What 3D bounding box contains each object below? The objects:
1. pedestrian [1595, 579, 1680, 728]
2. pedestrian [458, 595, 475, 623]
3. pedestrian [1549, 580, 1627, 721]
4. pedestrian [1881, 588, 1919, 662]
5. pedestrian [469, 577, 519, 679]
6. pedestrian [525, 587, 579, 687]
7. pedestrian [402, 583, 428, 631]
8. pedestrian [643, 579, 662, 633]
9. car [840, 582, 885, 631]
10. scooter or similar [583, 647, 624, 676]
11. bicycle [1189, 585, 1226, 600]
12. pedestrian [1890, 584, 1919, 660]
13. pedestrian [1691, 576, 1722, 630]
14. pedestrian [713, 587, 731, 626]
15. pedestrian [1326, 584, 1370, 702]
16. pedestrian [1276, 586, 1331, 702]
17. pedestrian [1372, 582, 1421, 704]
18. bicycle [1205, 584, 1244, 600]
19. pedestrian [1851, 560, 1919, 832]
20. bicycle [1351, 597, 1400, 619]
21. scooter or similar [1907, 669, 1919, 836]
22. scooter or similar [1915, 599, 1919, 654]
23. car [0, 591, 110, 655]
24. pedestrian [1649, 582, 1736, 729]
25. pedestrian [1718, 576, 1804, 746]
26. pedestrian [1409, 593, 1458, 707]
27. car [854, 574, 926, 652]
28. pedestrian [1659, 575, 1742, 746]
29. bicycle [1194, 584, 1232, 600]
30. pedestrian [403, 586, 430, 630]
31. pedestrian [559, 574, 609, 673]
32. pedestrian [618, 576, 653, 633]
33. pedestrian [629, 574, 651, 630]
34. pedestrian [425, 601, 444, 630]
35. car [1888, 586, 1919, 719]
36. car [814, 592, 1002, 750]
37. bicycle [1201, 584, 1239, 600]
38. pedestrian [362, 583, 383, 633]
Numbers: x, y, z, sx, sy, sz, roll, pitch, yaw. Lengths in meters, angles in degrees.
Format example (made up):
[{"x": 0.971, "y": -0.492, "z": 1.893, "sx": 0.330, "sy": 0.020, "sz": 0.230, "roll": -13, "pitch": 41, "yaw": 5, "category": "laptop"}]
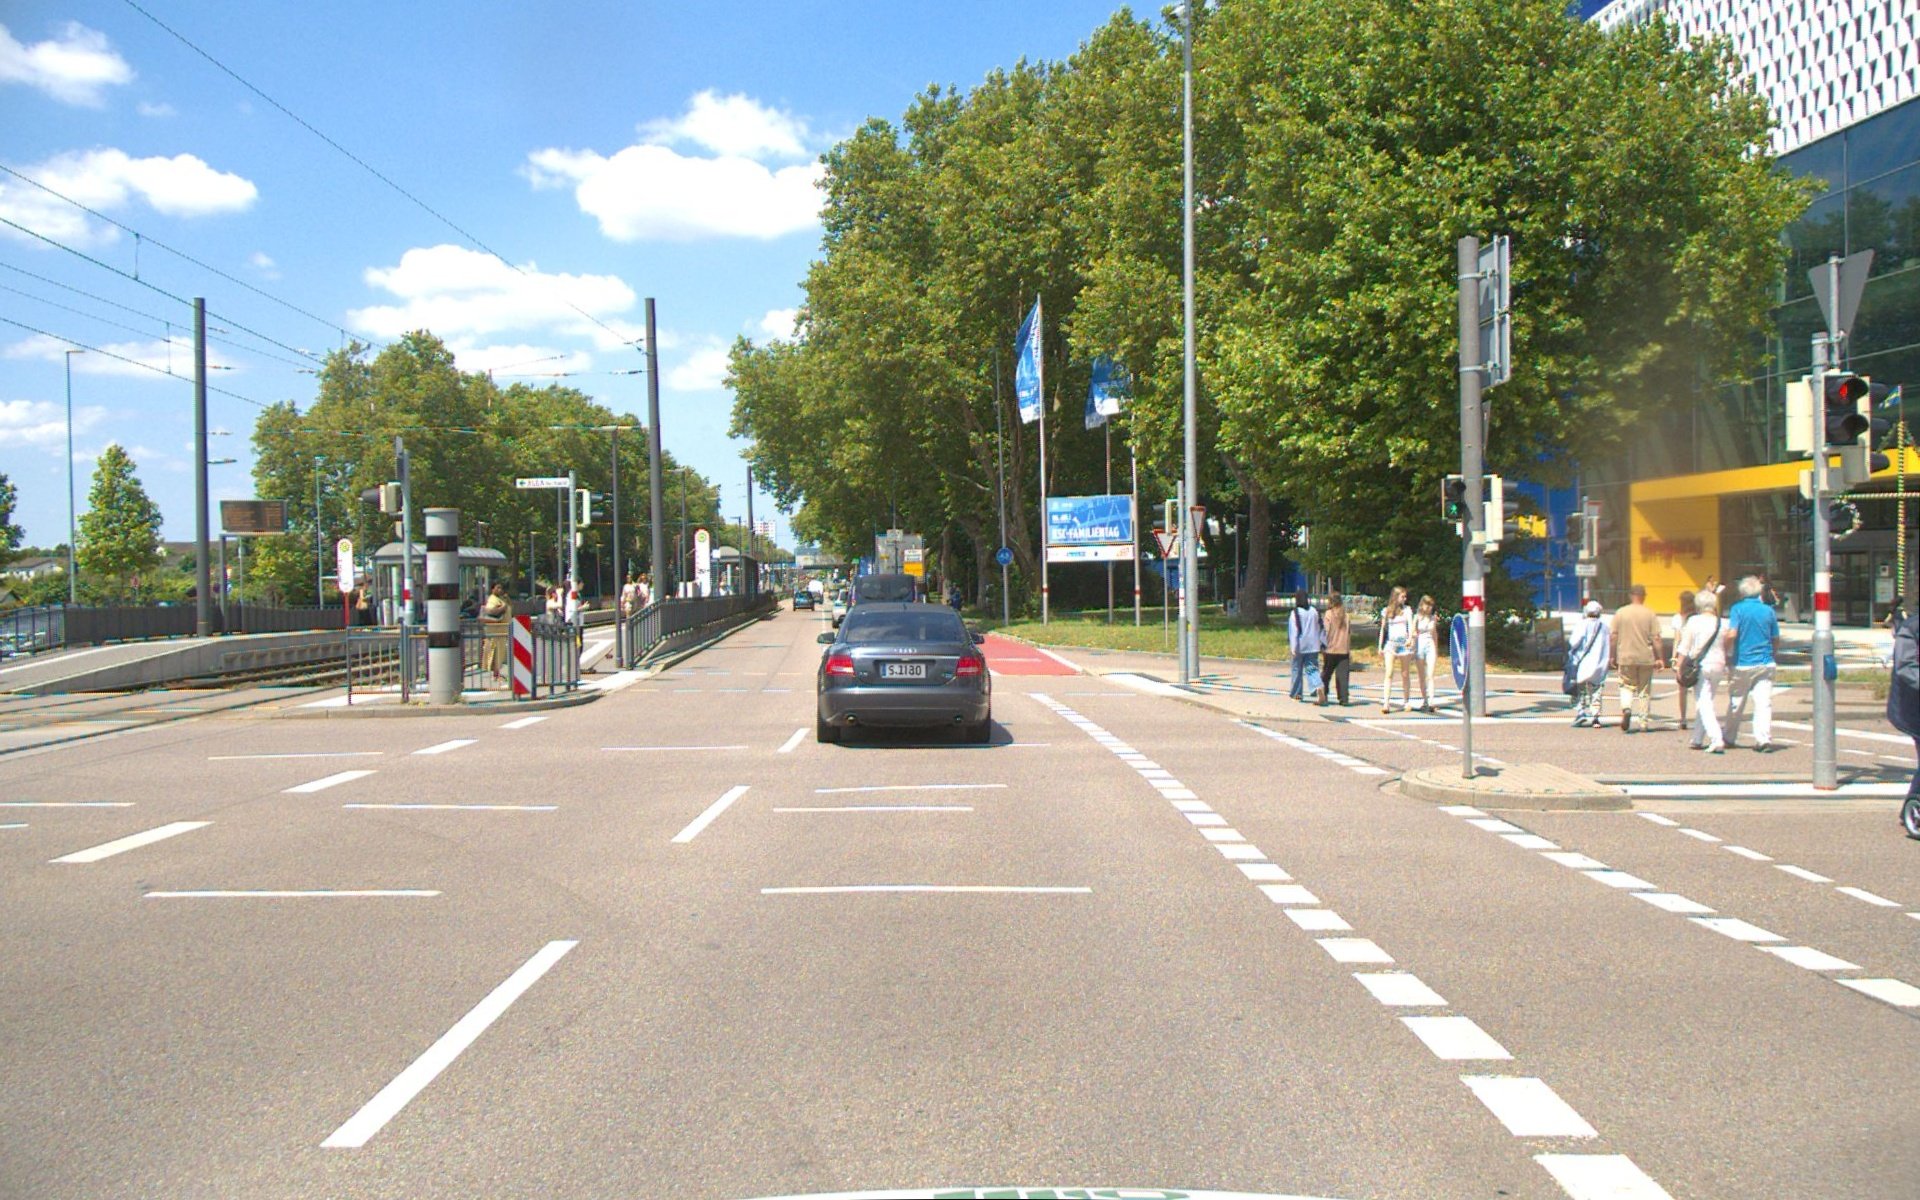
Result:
[{"x": 7.857, "y": 0.604, "z": 19.214, "sx": 0.778, "sy": 1.688, "sz": 0.853, "roll": 0, "pitch": 0, "yaw": 12, "category": "pedestrian"}, {"x": -21.794, "y": 0.398, "z": 73.021, "sx": 0.565, "sy": 1.211, "sz": 0.638, "roll": -1, "pitch": 0, "yaw": -4, "category": "pedestrian"}, {"x": 7.701, "y": 0.608, "z": 20.316, "sx": 0.778, "sy": 1.688, "sz": 0.853, "roll": 0, "pitch": 0, "yaw": 12, "category": "pedestrian"}, {"x": 20.727, "y": 0.544, "z": 36.333, "sx": 0.598, "sy": 1.614, "sz": 0.632, "roll": -1, "pitch": 0, "yaw": -10, "category": "pedestrian"}, {"x": -7.889, "y": 0.465, "z": 28.005, "sx": 0.718, "sy": 1.702, "sz": 0.677, "roll": 0, "pitch": 0, "yaw": -8, "category": "pedestrian"}, {"x": -6.584, "y": 0.585, "z": 26.729, "sx": 0.770, "sy": 1.600, "sz": 0.763, "roll": 0, "pitch": 0, "yaw": -8, "category": "pedestrian"}, {"x": -20.259, "y": 0.257, "z": 61.435, "sx": 0.723, "sy": 1.759, "sz": 0.577, "roll": -1, "pitch": 0, "yaw": 33, "category": "pedestrian"}, {"x": -9.168, "y": 0.173, "z": 49.348, "sx": 0.487, "sy": 1.605, "sz": 0.556, "roll": -1, "pitch": 0, "yaw": -6, "category": "pedestrian"}, {"x": -4.085, "y": 0.262, "z": 69.536, "sx": 1.811, "sy": 1.994, "sz": 4.142, "roll": 0, "pitch": 0, "yaw": -3, "category": "car"}, {"x": -6.702, "y": 1.152, "z": 31.090, "sx": 0.712, "sy": 0.514, "sz": 0.456, "roll": -1, "pitch": 0, "yaw": -8, "category": "scooter or similar"}, {"x": 17.357, "y": -0.529, "z": 115.945, "sx": 2.499, "sy": 0.987, "sz": 0.757, "roll": 0, "pitch": 0, "yaw": -10, "category": "bicycle"}, {"x": 20.657, "y": 0.470, "z": 35.630, "sx": 0.901, "sy": 1.614, "sz": 0.632, "roll": -1, "pitch": 0, "yaw": -10, "category": "pedestrian"}, {"x": 24.721, "y": 0.097, "z": 54.793, "sx": 0.764, "sy": 1.766, "sz": 0.742, "roll": 0, "pitch": 0, "yaw": 8, "category": "pedestrian"}, {"x": -10.226, "y": 0.273, "z": 71.186, "sx": 0.718, "sy": 1.694, "sz": 0.741, "roll": 0, "pitch": 0, "yaw": -6, "category": "pedestrian"}, {"x": 5.723, "y": 0.627, "z": 24.404, "sx": 0.609, "sy": 1.712, "sz": 0.726, "roll": 0, "pitch": 0, "yaw": 13, "category": "pedestrian"}, {"x": 4.964, "y": 0.617, "z": 23.864, "sx": 0.749, "sy": 1.634, "sz": 0.897, "roll": 0, "pitch": 0, "yaw": 13, "category": "pedestrian"}, {"x": 6.148, "y": 0.599, "z": 23.320, "sx": 0.516, "sy": 1.695, "sz": 0.640, "roll": 0, "pitch": 0, "yaw": -1, "category": "pedestrian"}, {"x": 17.969, "y": -0.543, "z": 112.419, "sx": 2.499, "sy": 1.130, "sz": 0.757, "roll": 0, "pitch": 0, "yaw": -10, "category": "bicycle"}, {"x": 6.417, "y": 0.601, "z": 10.752, "sx": 0.766, "sy": 1.702, "sz": 0.947, "roll": 0, "pitch": 0, "yaw": 2, "category": "pedestrian"}, {"x": 19.409, "y": 0.364, "z": 77.297, "sx": 2.021, "sy": 0.986, "sz": 0.867, "roll": -1, "pitch": 0, "yaw": -9, "category": "bicycle"}, {"x": 6.403, "y": 0.967, "z": 10.174, "sx": 0.675, "sy": 1.049, "sz": 0.863, "roll": 0, "pitch": 0, "yaw": 2, "category": "scooter or similar"}, {"x": 21.478, "y": 0.577, "z": 35.907, "sx": 1.053, "sy": 1.219, "sz": 0.727, "roll": 0, "pitch": 0, "yaw": -6, "category": "scooter or similar"}, {"x": -24.974, "y": 0.590, "z": 44.845, "sx": 1.954, "sy": 1.657, "sz": 3.997, "roll": 0, "pitch": 0, "yaw": -4, "category": "car"}, {"x": 8.645, "y": 0.638, "z": 19.553, "sx": 0.778, "sy": 1.688, "sz": 0.853, "roll": 0, "pitch": 0, "yaw": 12, "category": "pedestrian"}, {"x": 8.046, "y": 0.603, "z": 16.636, "sx": 0.589, "sy": 1.666, "sz": 0.864, "roll": 0, "pitch": -1, "yaw": 13, "category": "pedestrian"}, {"x": 6.754, "y": 0.701, "z": 23.616, "sx": 0.516, "sy": 1.607, "sz": 0.612, "roll": 0, "pitch": 0, "yaw": -1, "category": "pedestrian"}, {"x": -1.896, "y": 0.338, "z": 44.456, "sx": 1.811, "sy": 1.994, "sz": 4.142, "roll": 0, "pitch": 0, "yaw": -3, "category": "car"}, {"x": 7.435, "y": 0.597, "z": 16.634, "sx": 0.593, "sy": 1.666, "sz": 0.864, "roll": 0, "pitch": -1, "yaw": 13, "category": "pedestrian"}, {"x": 17.521, "y": -0.535, "z": 114.686, "sx": 2.499, "sy": 1.130, "sz": 0.757, "roll": 0, "pitch": 0, "yaw": -10, "category": "bicycle"}, {"x": -20.632, "y": 0.306, "z": 62.831, "sx": 0.811, "sy": 1.667, "sz": 0.577, "roll": -1, "pitch": 0, "yaw": 33, "category": "pedestrian"}, {"x": -7.008, "y": 0.430, "z": 30.878, "sx": 0.846, "sy": 1.833, "sz": 0.882, "roll": 0, "pitch": 0, "yaw": -9, "category": "pedestrian"}, {"x": -9.284, "y": 0.123, "z": 47.356, "sx": 0.873, "sy": 1.633, "sz": 0.923, "roll": 0, "pitch": 0, "yaw": -6, "category": "pedestrian"}, {"x": -9.786, "y": 0.062, "z": 50.597, "sx": 0.601, "sy": 1.711, "sz": 0.719, "roll": 0, "pitch": 0, "yaw": -7, "category": "pedestrian"}, {"x": -20.822, "y": 0.599, "z": 65.492, "sx": 0.565, "sy": 1.114, "sz": 0.638, "roll": -1, "pitch": 0, "yaw": -4, "category": "pedestrian"}, {"x": 13.432, "y": 0.637, "z": 19.525, "sx": 3.910, "sy": 1.583, "sz": 1.997, "roll": 0, "pitch": 0, "yaw": -6, "category": "car"}, {"x": -0.579, "y": 0.726, "z": 18.070, "sx": 1.805, "sy": 1.510, "sz": 3.998, "roll": 1, "pitch": -1, "yaw": -2, "category": "car"}, {"x": 17.812, "y": -0.538, "z": 113.449, "sx": 2.499, "sy": 1.130, "sz": 0.757, "roll": 0, "pitch": 0, "yaw": -10, "category": "bicycle"}, {"x": -19.951, "y": 0.274, "z": 56.177, "sx": 0.547, "sy": 1.666, "sz": 0.804, "roll": 0, "pitch": 0, "yaw": -12, "category": "pedestrian"}]
